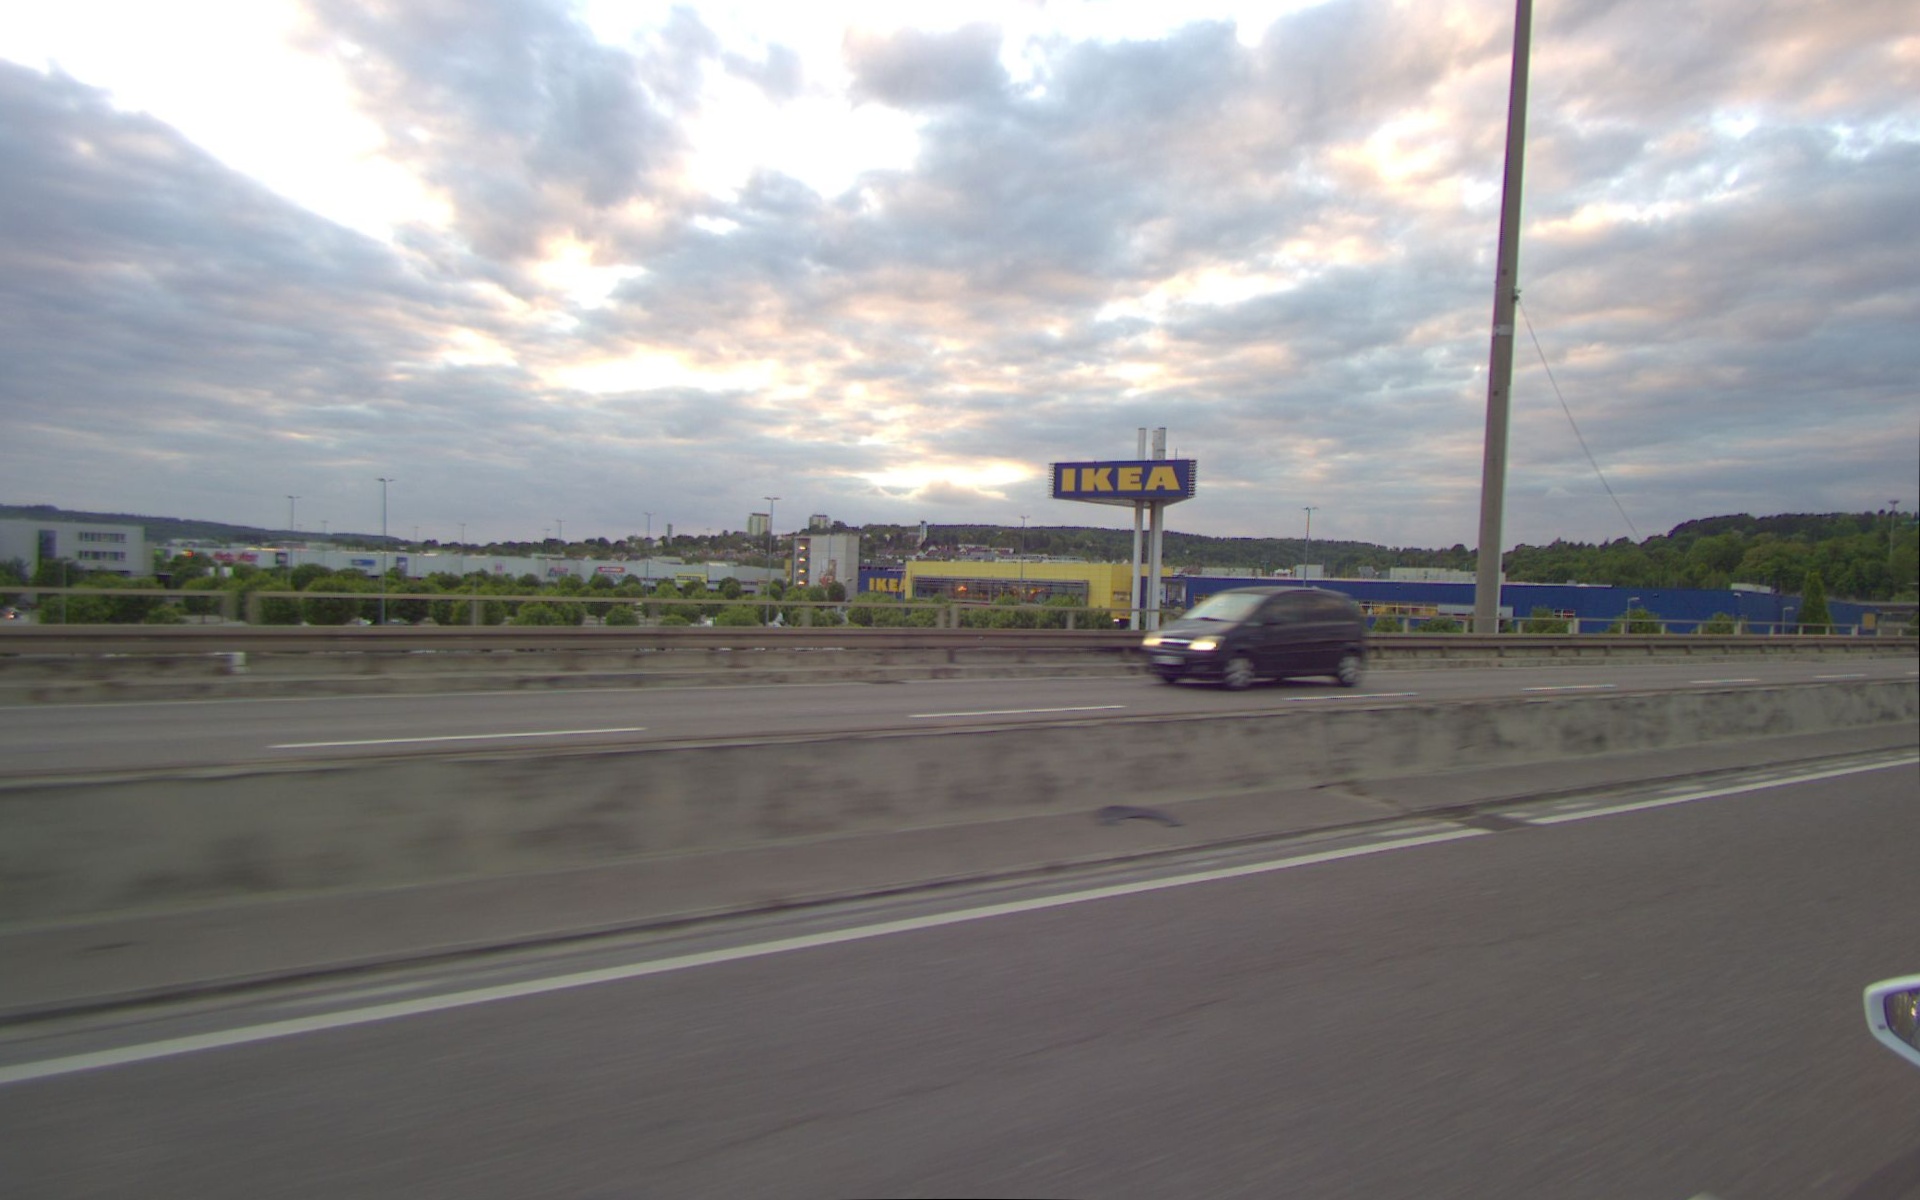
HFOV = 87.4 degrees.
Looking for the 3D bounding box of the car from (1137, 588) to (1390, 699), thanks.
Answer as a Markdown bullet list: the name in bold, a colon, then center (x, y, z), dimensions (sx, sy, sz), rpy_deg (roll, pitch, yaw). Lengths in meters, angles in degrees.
- **car**: center (4.979, 0.679, 16.355), dimensions (3.995, 1.615, 1.649), rpy_deg (2, 0, -30)
